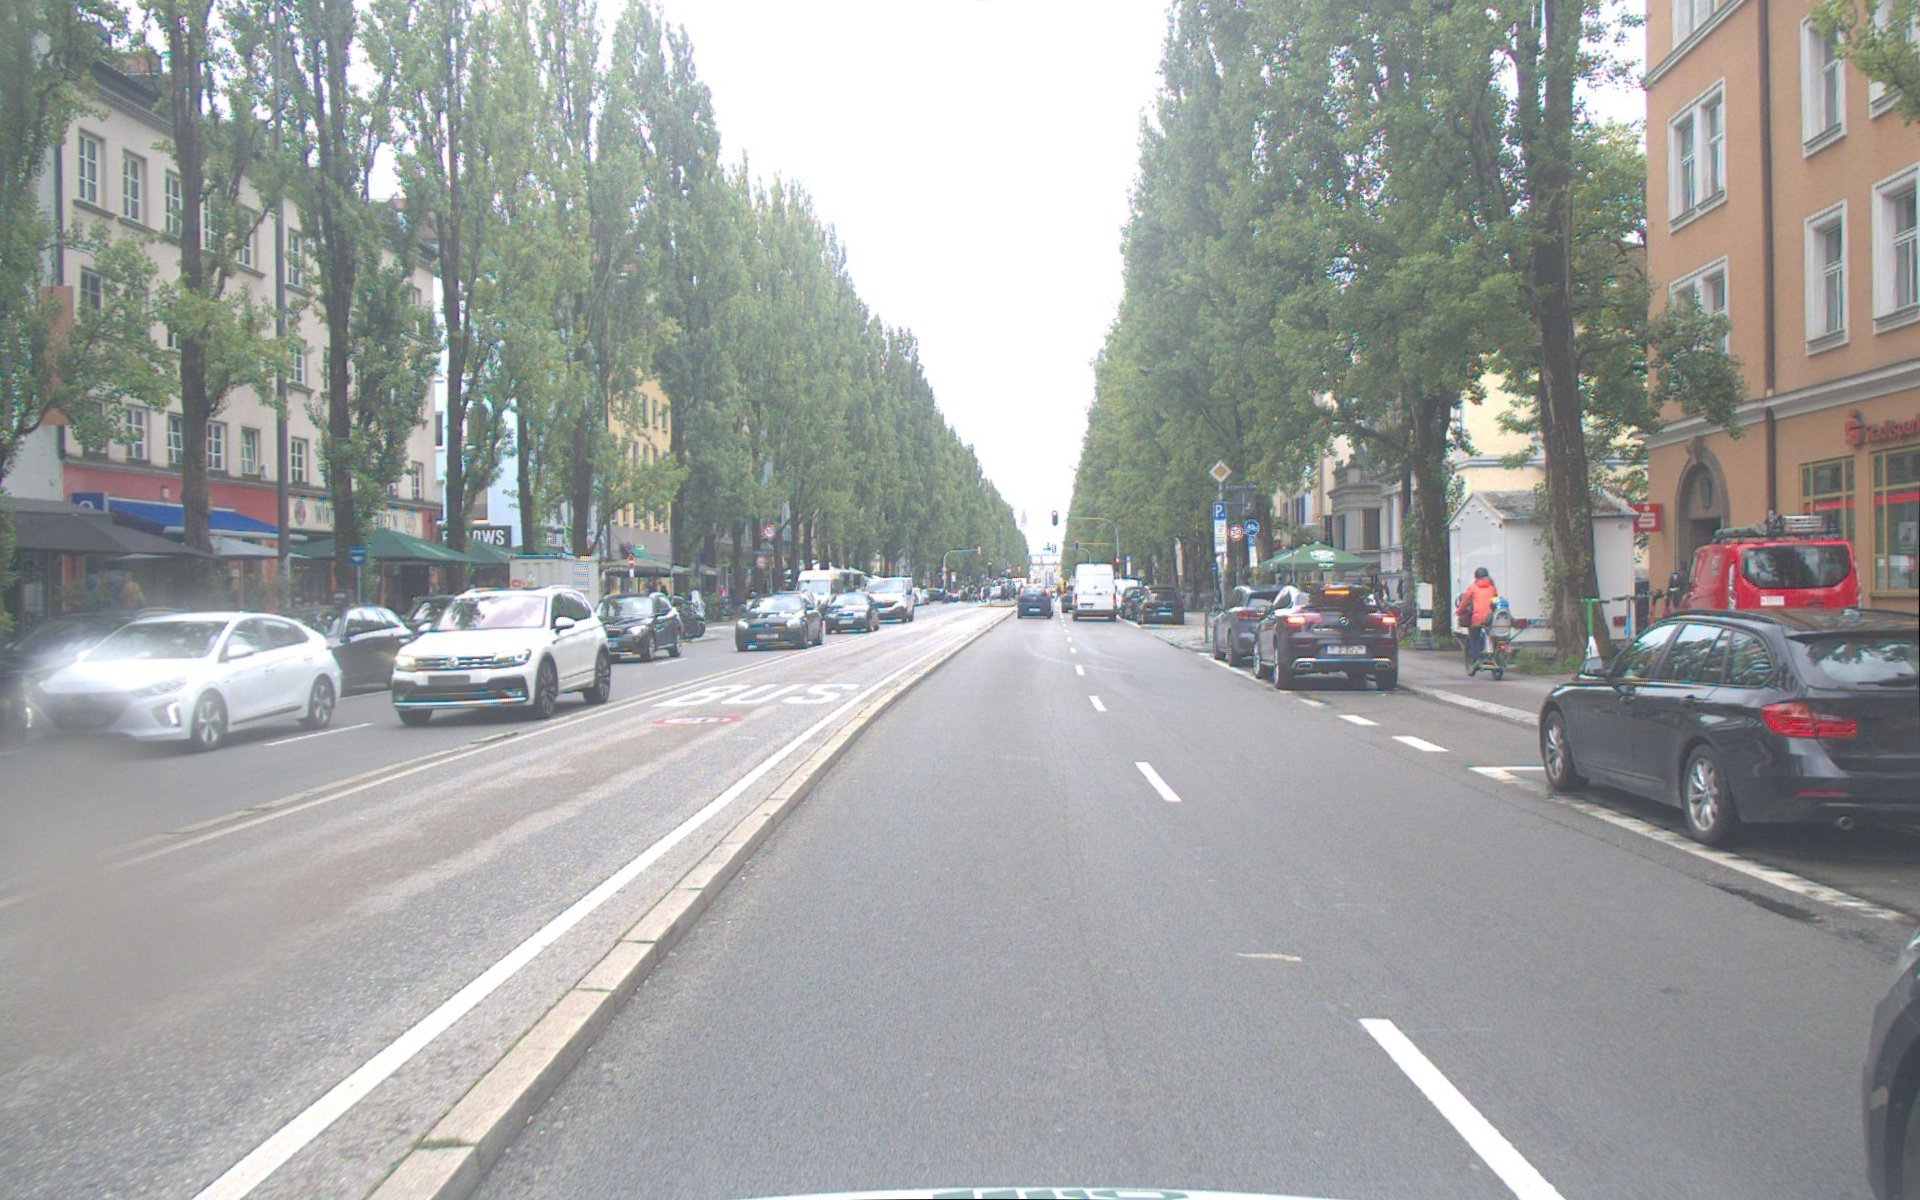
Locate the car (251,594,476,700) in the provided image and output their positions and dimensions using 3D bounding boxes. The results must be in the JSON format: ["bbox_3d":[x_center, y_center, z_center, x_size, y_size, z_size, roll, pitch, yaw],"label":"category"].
[{"bbox_3d":[-10.496,0.768,29.566,1.952,1.624,4.894,-2,1,4],"label":"car"}]

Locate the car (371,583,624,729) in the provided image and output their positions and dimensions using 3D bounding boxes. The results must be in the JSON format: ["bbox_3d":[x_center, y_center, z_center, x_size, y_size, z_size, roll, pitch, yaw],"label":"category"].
[{"bbox_3d":[-5.914,0.636,21.740,1.899,1.671,4.465,-2,0,2],"label":"car"}]

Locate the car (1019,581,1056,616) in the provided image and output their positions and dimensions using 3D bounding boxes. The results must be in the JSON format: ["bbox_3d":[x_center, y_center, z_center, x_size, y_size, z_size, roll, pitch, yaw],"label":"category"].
[{"bbox_3d":[3.783,-0.056,80.630,1.722,1.648,3.748,0,0,3],"label":"car"}]

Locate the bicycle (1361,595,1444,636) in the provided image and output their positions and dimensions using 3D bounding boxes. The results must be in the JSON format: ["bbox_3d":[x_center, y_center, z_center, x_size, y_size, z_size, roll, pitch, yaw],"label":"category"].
[{"bbox_3d":[11.668,0.411,43.641,2.015,1.041,0.690,-1,0,-8],"label":"bicycle"}]

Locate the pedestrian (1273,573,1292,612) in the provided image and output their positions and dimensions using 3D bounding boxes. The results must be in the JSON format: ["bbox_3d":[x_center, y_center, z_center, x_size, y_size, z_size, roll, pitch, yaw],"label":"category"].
[{"bbox_3d":[15.179,-0.360,77.871,0.795,1.786,0.934,-1,0,12],"label":"pedestrian"}]

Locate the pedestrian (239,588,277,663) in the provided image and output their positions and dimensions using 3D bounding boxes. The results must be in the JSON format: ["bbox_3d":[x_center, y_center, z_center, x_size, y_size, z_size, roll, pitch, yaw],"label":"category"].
[{"bbox_3d":[-18.055,0.648,42.549,0.625,1.894,0.648,-2,0,2],"label":"pedestrian"}]

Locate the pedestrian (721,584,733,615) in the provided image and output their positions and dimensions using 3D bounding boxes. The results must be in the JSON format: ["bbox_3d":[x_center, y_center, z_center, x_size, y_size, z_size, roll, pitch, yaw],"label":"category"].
[{"bbox_3d":[-14.090,-0.045,100.001,0.570,1.889,0.675,-1,0,2],"label":"pedestrian"}]

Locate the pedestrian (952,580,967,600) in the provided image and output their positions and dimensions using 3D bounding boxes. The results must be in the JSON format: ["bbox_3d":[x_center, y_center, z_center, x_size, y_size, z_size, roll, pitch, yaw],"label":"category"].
[{"bbox_3d":[-0.077,-1.039,172.133,1.125,1.950,1.142,-1,0,-29],"label":"pedestrian"}]

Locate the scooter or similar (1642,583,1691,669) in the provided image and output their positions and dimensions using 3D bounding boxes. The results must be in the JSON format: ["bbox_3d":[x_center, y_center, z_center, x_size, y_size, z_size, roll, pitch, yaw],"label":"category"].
[{"bbox_3d":[10.850,0.385,25.419,0.475,1.254,1.169,-3,0,15],"label":"scooter or similar"}]

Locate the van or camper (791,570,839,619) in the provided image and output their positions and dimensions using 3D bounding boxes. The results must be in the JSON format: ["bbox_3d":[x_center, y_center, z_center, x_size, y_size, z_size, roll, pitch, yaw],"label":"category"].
[{"bbox_3d":[-7.590,-0.287,86.835,1.952,2.501,4.253,-1,0,2],"label":"van or camper"}]

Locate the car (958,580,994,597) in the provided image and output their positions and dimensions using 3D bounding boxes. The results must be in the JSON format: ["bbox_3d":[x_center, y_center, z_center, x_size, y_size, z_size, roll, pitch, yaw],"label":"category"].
[{"bbox_3d":[1.783,-1.251,183.984,3.908,1.775,1.999,-2,0,-3],"label":"car"}]

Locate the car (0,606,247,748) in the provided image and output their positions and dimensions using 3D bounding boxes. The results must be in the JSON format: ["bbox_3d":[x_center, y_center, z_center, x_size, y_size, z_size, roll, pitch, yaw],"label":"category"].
[{"bbox_3d":[-11.021,0.901,20.848,1.952,1.508,4.322,-2,1,3],"label":"car"}]

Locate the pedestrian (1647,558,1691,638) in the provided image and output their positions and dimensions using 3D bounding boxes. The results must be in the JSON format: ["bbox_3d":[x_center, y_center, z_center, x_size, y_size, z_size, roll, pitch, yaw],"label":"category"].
[{"bbox_3d":[14.907,-0.048,34.777,0.658,1.641,0.641,-1,0,5],"label":"pedestrian"}]

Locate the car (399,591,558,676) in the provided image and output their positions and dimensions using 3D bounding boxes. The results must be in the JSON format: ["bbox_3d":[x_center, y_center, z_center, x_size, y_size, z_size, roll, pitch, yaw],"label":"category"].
[{"bbox_3d":[-10.163,0.663,35.239,1.810,1.592,4.335,-1,1,4],"label":"car"}]

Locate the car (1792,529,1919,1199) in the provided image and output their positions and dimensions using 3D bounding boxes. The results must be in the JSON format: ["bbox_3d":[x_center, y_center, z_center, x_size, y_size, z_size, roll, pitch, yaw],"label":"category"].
[{"bbox_3d":[2.885,0.683,1.868,1.725,1.642,4.182,0,0,-1],"label":"car"}]

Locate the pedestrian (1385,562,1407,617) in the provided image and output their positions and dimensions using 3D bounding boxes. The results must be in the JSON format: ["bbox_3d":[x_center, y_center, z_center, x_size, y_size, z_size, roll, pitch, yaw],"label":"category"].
[{"bbox_3d":[15.312,-0.358,58.082,0.686,1.905,0.766,0,-1,12],"label":"pedestrian"}]

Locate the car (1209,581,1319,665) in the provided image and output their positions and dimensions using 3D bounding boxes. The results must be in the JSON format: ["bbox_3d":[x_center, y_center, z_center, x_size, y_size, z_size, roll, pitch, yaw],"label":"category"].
[{"bbox_3d":[6.191,0.427,34.105,1.590,1.592,4.373,-1,1,2],"label":"car"}]

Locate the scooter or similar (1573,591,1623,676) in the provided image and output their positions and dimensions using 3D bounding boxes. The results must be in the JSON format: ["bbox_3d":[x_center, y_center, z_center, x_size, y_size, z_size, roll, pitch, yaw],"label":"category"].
[{"bbox_3d":[9.879,0.506,25.652,0.514,1.254,1.478,-3,0,15],"label":"scooter or similar"}]

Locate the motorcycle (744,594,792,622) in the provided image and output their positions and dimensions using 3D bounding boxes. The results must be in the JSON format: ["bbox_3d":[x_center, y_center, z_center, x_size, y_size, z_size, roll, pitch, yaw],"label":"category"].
[{"bbox_3d":[-8.511,0.334,73.577,1.212,1.160,3.720,-1,0,8],"label":"motorcycle"}]

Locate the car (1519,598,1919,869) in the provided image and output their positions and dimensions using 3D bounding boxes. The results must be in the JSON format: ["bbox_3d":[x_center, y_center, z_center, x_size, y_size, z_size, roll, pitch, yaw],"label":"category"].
[{"bbox_3d":[5.432,0.739,11.391,1.697,1.418,4.433,-2,0,1],"label":"car"}]

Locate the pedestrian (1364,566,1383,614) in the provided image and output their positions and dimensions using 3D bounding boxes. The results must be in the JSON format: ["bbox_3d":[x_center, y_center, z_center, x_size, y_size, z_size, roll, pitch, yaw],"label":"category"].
[{"bbox_3d":[14.485,-0.334,57.946,0.634,1.675,0.766,0,-1,12],"label":"pedestrian"}]

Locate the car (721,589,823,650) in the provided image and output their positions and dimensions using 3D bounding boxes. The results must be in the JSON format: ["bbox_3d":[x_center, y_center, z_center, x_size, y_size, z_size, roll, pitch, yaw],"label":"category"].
[{"bbox_3d":[-4.972,0.484,44.288,1.952,1.457,4.774,-2,1,2],"label":"car"}]

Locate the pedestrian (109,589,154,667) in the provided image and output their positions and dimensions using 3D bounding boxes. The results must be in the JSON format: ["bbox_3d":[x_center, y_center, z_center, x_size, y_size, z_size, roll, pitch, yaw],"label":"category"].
[{"bbox_3d":[-18.804,0.622,37.550,0.625,1.729,0.648,-2,0,2],"label":"pedestrian"}]

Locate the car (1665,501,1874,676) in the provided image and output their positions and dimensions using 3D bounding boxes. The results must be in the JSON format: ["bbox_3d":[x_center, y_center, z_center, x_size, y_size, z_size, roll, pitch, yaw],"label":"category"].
[{"bbox_3d":[12.148,-0.184,25.152,1.860,2.368,4.829,-1,0,14],"label":"car"}]

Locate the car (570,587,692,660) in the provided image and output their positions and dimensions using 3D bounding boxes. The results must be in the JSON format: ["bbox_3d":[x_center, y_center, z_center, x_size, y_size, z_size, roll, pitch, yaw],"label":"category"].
[{"bbox_3d":[-7.669,0.534,38.904,1.810,1.592,4.213,-1,0,3],"label":"car"}]

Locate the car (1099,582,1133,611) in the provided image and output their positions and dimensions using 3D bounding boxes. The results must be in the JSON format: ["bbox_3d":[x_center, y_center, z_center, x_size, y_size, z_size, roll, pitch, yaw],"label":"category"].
[{"bbox_3d":[8.832,-0.174,93.895,1.726,1.624,4.001,0,0,2],"label":"car"}]

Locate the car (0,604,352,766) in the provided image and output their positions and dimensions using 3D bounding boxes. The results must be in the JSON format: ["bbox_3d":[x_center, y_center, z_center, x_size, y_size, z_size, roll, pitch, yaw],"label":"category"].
[{"bbox_3d":[-8.714,0.854,18.672,1.899,1.519,4.458,-2,0,2],"label":"car"}]

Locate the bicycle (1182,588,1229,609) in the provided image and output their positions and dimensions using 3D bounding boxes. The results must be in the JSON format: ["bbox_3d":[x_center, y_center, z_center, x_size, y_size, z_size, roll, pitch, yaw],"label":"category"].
[{"bbox_3d":[12.306,-0.078,82.959,0.751,1.041,2.704,-1,1,-32],"label":"bicycle"}]

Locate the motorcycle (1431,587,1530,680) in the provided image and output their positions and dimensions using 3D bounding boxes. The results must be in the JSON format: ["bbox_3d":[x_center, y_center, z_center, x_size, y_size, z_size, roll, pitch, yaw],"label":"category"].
[{"bbox_3d":[8.291,0.502,26.464,0.809,1.394,2.252,-2,0,-1],"label":"motorcycle"}]

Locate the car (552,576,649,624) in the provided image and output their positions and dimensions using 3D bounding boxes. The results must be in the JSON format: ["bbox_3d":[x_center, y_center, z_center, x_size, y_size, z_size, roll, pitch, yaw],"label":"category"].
[{"bbox_3d":[-9.964,-0.020,46.116,1.772,1.272,3.701,-1,0,2],"label":"car"}]

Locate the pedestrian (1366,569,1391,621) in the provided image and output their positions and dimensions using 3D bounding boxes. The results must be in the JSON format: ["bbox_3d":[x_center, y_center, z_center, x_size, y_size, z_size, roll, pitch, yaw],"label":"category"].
[{"bbox_3d":[13.666,-0.162,53.998,0.656,1.679,0.625,-1,0,30],"label":"pedestrian"}]

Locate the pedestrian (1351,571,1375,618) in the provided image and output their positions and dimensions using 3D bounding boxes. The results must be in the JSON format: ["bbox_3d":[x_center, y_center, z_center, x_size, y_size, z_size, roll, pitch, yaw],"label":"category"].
[{"bbox_3d":[16.488,-0.224,67.709,0.745,1.886,0.740,-1,0,0],"label":"pedestrian"}]

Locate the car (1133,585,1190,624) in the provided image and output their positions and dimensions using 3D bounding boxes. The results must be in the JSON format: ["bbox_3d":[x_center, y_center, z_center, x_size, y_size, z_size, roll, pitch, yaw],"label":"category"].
[{"bbox_3d":[8.191,0.148,67.551,1.903,1.493,4.001,-1,0,2],"label":"car"}]

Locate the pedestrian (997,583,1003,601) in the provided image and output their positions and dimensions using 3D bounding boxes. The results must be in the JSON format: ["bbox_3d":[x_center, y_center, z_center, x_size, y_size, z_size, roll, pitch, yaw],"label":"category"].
[{"bbox_3d":[3.905,-0.784,161.289,0.541,1.746,0.493,-1,0,3],"label":"pedestrian"}]

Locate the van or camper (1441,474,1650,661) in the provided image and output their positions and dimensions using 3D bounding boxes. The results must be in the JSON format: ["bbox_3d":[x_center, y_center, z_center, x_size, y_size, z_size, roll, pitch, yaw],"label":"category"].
[{"bbox_3d":[10.804,-0.581,30.952,2.409,3.166,4.718,-1,0,3],"label":"van or camper"}]

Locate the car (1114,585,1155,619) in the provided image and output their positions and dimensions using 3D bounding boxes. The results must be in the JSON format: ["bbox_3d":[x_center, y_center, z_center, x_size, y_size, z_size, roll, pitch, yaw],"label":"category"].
[{"bbox_3d":[8.655,0.112,82.359,1.767,1.624,4.001,0,0,2],"label":"car"}]

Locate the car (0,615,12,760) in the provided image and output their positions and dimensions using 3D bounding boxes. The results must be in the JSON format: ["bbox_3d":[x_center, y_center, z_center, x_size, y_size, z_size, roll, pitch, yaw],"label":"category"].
[{"bbox_3d":[-11.267,0.988,15.929,1.767,1.545,4.002,-2,0,3],"label":"car"}]

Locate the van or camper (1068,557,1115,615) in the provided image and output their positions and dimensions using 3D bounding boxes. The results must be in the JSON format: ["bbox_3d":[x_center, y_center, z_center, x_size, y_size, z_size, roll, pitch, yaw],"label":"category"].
[{"bbox_3d":[6.064,-0.612,76.367,1.992,2.519,4.001,-1,-1,2],"label":"van or camper"}]

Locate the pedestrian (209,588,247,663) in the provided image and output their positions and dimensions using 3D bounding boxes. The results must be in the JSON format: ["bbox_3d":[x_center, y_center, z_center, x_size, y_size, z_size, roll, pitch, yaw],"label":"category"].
[{"bbox_3d":[-18.772,0.641,42.414,0.625,1.894,0.648,-2,0,2],"label":"pedestrian"}]

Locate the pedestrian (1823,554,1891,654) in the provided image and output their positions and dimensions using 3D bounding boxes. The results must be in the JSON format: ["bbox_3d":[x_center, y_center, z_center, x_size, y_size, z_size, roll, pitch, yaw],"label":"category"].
[{"bbox_3d":[15.153,0.059,27.966,0.714,1.654,0.805,-1,0,4],"label":"pedestrian"}]

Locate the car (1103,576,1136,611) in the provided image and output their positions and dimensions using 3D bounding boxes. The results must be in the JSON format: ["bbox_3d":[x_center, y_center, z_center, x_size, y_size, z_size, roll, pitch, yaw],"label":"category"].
[{"bbox_3d":[9.587,-0.370,99.907,1.767,2.027,4.001,0,0,2],"label":"car"}]

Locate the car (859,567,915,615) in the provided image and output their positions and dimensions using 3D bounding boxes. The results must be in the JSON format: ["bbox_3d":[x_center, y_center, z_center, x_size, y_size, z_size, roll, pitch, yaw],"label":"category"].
[{"bbox_3d":[-3.193,-0.396,73.321,1.952,1.967,4.920,-3,0,2],"label":"car"}]

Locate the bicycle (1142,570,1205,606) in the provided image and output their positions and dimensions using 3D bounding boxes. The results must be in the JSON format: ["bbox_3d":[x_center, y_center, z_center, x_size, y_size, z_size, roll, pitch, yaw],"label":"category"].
[{"bbox_3d":[12.169,-0.690,94.310,3.473,2.049,1.298,0,-1,12],"label":"bicycle"}]

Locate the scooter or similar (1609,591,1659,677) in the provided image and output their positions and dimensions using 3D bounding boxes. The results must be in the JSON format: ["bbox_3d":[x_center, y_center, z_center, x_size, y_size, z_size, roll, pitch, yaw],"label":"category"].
[{"bbox_3d":[10.327,0.506,25.362,0.475,1.254,1.407,-3,0,15],"label":"scooter or similar"}]

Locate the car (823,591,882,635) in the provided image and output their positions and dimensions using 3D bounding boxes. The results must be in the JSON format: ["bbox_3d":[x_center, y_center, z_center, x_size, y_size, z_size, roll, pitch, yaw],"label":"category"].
[{"bbox_3d":[-3.732,0.438,58.131,1.676,1.438,3.724,-1,0,2],"label":"car"}]

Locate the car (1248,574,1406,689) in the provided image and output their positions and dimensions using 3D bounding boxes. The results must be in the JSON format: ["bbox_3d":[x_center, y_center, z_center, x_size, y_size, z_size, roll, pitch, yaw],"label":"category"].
[{"bbox_3d":[5.816,0.439,26.712,1.841,1.670,4.585,-1,1,4],"label":"car"}]

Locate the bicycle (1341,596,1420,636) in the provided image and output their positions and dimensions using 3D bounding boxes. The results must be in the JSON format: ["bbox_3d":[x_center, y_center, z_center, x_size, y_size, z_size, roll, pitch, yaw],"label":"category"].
[{"bbox_3d":[11.396,0.416,44.853,2.020,1.041,0.688,-1,0,-17],"label":"bicycle"}]

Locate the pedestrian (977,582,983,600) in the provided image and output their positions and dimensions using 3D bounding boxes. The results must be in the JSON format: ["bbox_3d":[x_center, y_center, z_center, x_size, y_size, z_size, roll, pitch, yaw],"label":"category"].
[{"bbox_3d":[1.949,-0.882,161.500,0.541,1.746,0.493,-1,0,3],"label":"pedestrian"}]

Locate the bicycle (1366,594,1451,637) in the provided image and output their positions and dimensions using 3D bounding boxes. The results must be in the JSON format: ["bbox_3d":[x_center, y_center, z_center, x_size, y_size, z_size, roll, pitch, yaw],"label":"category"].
[{"bbox_3d":[11.343,0.397,41.850,2.009,1.041,0.692,-1,0,10],"label":"bicycle"}]

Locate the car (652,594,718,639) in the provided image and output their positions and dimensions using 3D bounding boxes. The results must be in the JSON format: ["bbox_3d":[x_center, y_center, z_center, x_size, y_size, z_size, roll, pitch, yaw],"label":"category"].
[{"bbox_3d":[-9.000,0.521,54.309,1.480,1.368,3.238,-2,0,2],"label":"car"}]

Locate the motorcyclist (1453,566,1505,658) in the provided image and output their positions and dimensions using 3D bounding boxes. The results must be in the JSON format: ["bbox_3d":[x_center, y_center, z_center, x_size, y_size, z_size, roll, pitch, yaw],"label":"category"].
[{"bbox_3d":[8.300,0.184,26.483,0.552,1.431,0.766,-2,0,-1],"label":"motorcyclist"}]

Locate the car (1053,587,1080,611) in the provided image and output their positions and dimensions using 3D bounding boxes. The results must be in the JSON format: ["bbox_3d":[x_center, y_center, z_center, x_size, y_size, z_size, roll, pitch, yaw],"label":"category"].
[{"bbox_3d":[6.286,-0.057,97.730,1.472,1.336,3.284,-1,0,2],"label":"car"}]
